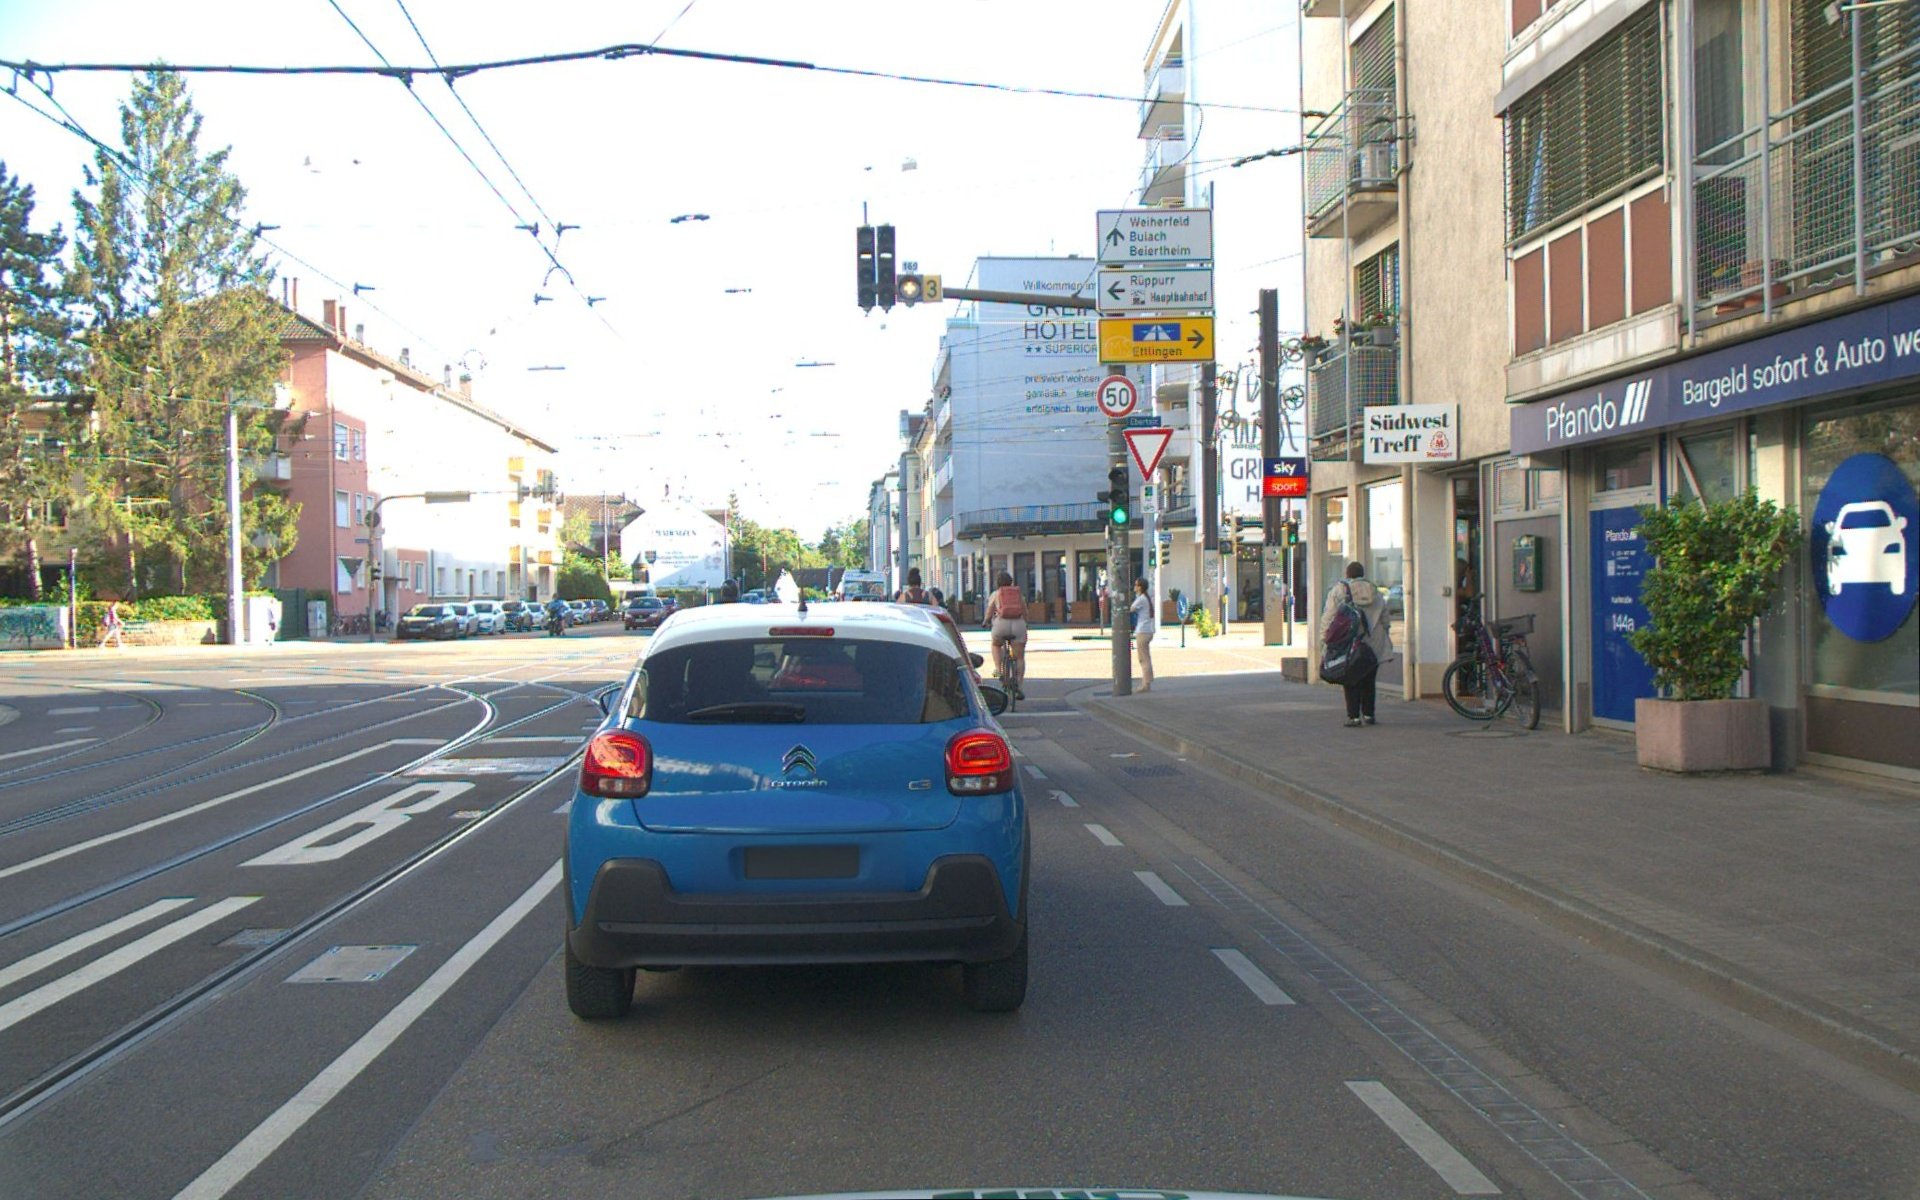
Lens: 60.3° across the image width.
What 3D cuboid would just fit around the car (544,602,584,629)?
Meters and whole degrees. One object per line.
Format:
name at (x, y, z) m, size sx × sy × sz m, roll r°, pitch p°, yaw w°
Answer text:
car at (-24.497, 0.924, 102.416) m, size 1.833 × 1.604 × 3.995 m, roll 1°, pitch 0°, yaw -6°

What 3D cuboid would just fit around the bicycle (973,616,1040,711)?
bicycle at (0.646, 0.823, 22.263) m, size 0.794 × 1.202 × 2.065 m, roll 1°, pitch 0°, yaw 4°

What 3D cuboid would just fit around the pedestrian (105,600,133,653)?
pedestrian at (-28.519, 0.900, 56.092) m, size 0.771 × 1.752 × 0.699 m, roll 1°, pitch -1°, yaw -24°

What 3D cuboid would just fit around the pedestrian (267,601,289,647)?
pedestrian at (-24.116, 0.850, 58.504) m, size 0.563 × 1.596 × 0.515 m, roll 0°, pitch -1°, yaw 43°

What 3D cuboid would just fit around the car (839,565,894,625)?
car at (-4.146, -0.210, 72.753) m, size 2.221 × 2.525 × 5.002 m, roll 0°, pitch 0°, yaw -5°

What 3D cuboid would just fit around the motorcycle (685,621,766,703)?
motorcycle at (-3.216, 0.831, 22.849) m, size 0.837 × 1.065 × 1.942 m, roll 1°, pitch 0°, yaw -1°

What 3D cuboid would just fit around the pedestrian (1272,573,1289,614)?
pedestrian at (12.846, -0.263, 66.250) m, size 0.597 × 1.636 × 0.669 m, roll 1°, pitch -1°, yaw 16°

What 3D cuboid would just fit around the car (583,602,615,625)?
car at (-25.849, 0.967, 118.523) m, size 1.833 × 1.604 × 3.995 m, roll 1°, pitch 0°, yaw -6°

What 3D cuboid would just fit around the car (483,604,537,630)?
car at (-23.301, 0.867, 85.803) m, size 1.909 × 1.261 × 4.278 m, roll 1°, pitch 0°, yaw -5°

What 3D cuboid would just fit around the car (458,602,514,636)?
car at (-22.622, 0.892, 79.021) m, size 1.707 × 1.553 × 4.226 m, roll 1°, pitch 0°, yaw -4°

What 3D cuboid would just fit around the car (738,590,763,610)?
car at (-21.552, 0.035, 170.416) m, size 2.174 × 1.965 × 4.945 m, roll 1°, pitch 0°, yaw -4°

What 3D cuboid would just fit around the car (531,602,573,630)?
car at (-24.078, 0.911, 97.748) m, size 1.833 × 1.604 × 3.995 m, roll 1°, pitch 0°, yaw -6°

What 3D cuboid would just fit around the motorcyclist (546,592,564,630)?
motorcyclist at (-16.357, 0.438, 66.864) m, size 0.681 × 1.523 × 0.682 m, roll -1°, pitch -2°, yaw -14°

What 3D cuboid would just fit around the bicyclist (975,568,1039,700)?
bicyclist at (0.644, 0.445, 22.216) m, size 0.794 × 1.721 × 0.935 m, roll 1°, pitch 0°, yaw 4°

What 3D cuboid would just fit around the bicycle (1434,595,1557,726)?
bicycle at (5.093, 0.551, 15.824) m, size 0.486 × 1.182 × 1.776 m, roll -1°, pitch 0°, yaw -4°

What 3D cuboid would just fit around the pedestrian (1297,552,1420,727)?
pedestrian at (3.905, 0.372, 16.263) m, size 0.868 × 1.619 × 0.809 m, roll -3°, pitch 1°, yaw -9°

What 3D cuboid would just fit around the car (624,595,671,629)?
car at (-14.385, 0.539, 76.213) m, size 1.744 × 1.512 × 3.824 m, roll -1°, pitch 0°, yaw -5°

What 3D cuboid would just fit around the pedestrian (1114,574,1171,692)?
pedestrian at (2.669, 0.481, 24.151) m, size 0.528 × 1.652 × 0.733 m, roll -5°, pitch -2°, yaw 21°

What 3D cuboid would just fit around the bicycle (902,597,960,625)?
bicycle at (-1.146, 0.451, 65.777) m, size 2.208 × 1.019 × 0.855 m, roll -2°, pitch 0°, yaw -6°

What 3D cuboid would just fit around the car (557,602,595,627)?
car at (-24.913, 0.937, 107.434) m, size 1.833 × 1.604 × 3.995 m, roll 1°, pitch 0°, yaw -6°

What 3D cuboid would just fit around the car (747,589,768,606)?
car at (-22.902, -0.290, 187.478) m, size 2.033 × 1.793 × 5.032 m, roll 1°, pitch 0°, yaw -4°

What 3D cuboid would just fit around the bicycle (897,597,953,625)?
bicycle at (-1.435, 0.442, 67.140) m, size 2.208 × 1.019 × 0.855 m, roll -2°, pitch 0°, yaw -6°

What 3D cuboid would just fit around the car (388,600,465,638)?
car at (-22.100, 0.818, 68.703) m, size 2.112 × 1.457 × 4.435 m, roll 1°, pitch -2°, yaw -5°

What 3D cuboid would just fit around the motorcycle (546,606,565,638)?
motorcycle at (-16.321, 0.889, 66.714) m, size 0.700 × 1.241 × 1.958 m, roll -1°, pitch -2°, yaw -14°

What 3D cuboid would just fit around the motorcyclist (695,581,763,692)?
motorcyclist at (-3.219, 0.501, 23.083) m, size 0.837 × 1.514 × 0.729 m, roll 1°, pitch -1°, yaw -1°

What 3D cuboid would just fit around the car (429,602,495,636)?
car at (-22.310, 0.829, 74.278) m, size 1.865 × 1.462 × 4.100 m, roll 1°, pitch 0°, yaw -3°

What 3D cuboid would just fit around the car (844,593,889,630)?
car at (-3.857, 0.457, 67.760) m, size 1.626 × 1.456 × 3.882 m, roll 1°, pitch 0°, yaw -7°

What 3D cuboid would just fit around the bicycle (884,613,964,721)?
bicycle at (-0.457, 0.799, 20.535) m, size 0.921 × 1.245 × 2.094 m, roll 1°, pitch 0°, yaw -2°

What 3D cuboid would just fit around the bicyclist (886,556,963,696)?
bicyclist at (-0.454, 0.318, 20.823) m, size 0.921 × 1.702 × 1.079 m, roll 1°, pitch 0°, yaw -2°

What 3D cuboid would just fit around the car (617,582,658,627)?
car at (-23.121, 0.322, 118.730) m, size 2.370 × 3.197 × 3.486 m, roll 1°, pitch 0°, yaw -4°

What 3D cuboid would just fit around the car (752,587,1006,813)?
car at (-0.733, 0.690, 13.435) m, size 1.750 × 1.548 × 3.758 m, roll 1°, pitch 1°, yaw -5°

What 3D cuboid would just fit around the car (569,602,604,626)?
car at (-25.321, 0.950, 112.306) m, size 1.833 × 1.604 × 3.995 m, roll 1°, pitch 0°, yaw -6°

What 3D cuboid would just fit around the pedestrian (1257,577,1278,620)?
pedestrian at (11.847, -0.061, 63.668) m, size 0.598 × 1.636 × 0.668 m, roll 1°, pitch -1°, yaw 27°

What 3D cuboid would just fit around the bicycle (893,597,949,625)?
bicycle at (-1.606, 0.449, 68.251) m, size 2.208 × 1.019 × 0.855 m, roll -2°, pitch 0°, yaw -6°

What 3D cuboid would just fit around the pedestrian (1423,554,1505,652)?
pedestrian at (5.887, 0.030, 19.335) m, size 0.618 × 1.106 × 0.670 m, roll -2°, pitch 1°, yaw -38°

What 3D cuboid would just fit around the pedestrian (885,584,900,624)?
pedestrian at (-2.825, 0.169, 69.594) m, size 0.600 × 1.683 × 0.671 m, roll 1°, pitch -1°, yaw -2°

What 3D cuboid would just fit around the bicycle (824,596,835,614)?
bicycle at (-12.528, 0.479, 158.662) m, size 0.774 × 1.699 × 2.230 m, roll 1°, pitch 0°, yaw 1°

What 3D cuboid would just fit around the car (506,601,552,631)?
car at (-23.850, 0.890, 91.691) m, size 1.833 × 1.604 × 3.995 m, roll 1°, pitch 0°, yaw -6°

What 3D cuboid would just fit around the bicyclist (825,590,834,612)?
bicyclist at (-12.522, 0.083, 158.667) m, size 0.774 × 2.060 × 0.986 m, roll 1°, pitch -1°, yaw 0°

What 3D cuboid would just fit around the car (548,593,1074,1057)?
car at (-0.656, 0.720, 7.199) m, size 1.703 × 1.478 × 3.657 m, roll 0°, pitch 0°, yaw -6°
